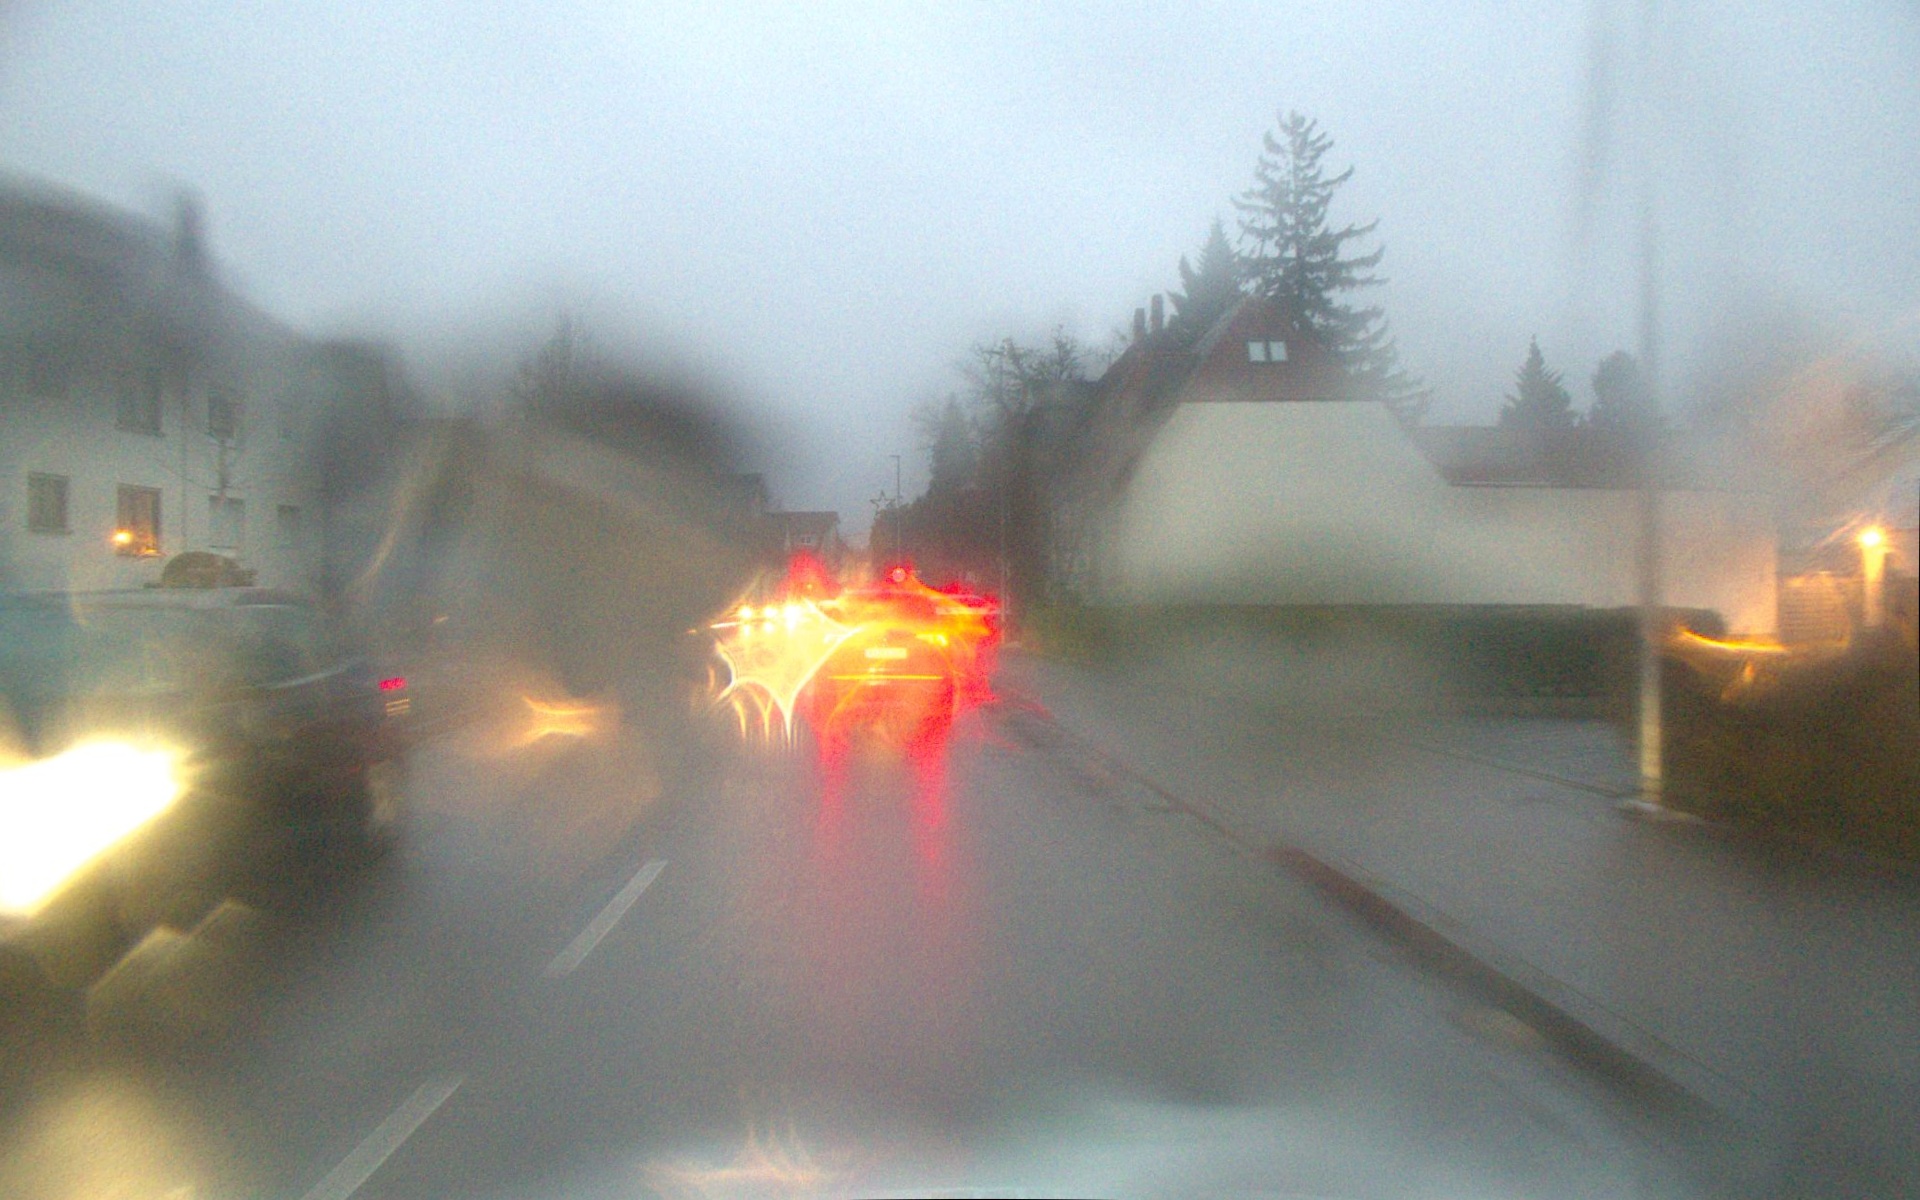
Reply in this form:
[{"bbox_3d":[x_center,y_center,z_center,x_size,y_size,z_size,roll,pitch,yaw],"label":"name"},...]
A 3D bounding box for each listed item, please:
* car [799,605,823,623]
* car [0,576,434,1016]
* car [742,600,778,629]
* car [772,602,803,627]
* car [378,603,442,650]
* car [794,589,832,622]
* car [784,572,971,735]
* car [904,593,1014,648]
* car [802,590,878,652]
[{"bbox_3d":[-11.498,1.076,128.090,1.806,1.355,3.933,-1,0,-5],"label":"car"},{"bbox_3d":[-4.053,0.726,7.956,1.786,1.581,3.999,-1,0,-1],"label":"car"},{"bbox_3d":[-11.784,0.853,97.716,1.875,1.549,3.998,0,1,-3],"label":"car"},{"bbox_3d":[-11.650,0.968,111.890,1.875,1.456,3.998,0,2,-4],"label":"car"},{"bbox_3d":[-17.794,0.842,53.611,1.748,1.417,3.982,2,-1,-16],"label":"car"},{"bbox_3d":[-9.135,0.351,102.607,2.265,1.972,5.011,0,-1,-6],"label":"car"},{"bbox_3d":[-1.259,0.671,22.563,2.265,1.972,5.011,0,-1,-6],"label":"car"},{"bbox_3d":[-0.051,0.766,63.787,4.161,2.049,1.810,0,0,-2],"label":"car"},{"bbox_3d":[-3.478,0.560,47.369,1.823,1.676,3.991,1,0,-9],"label":"car"}]
